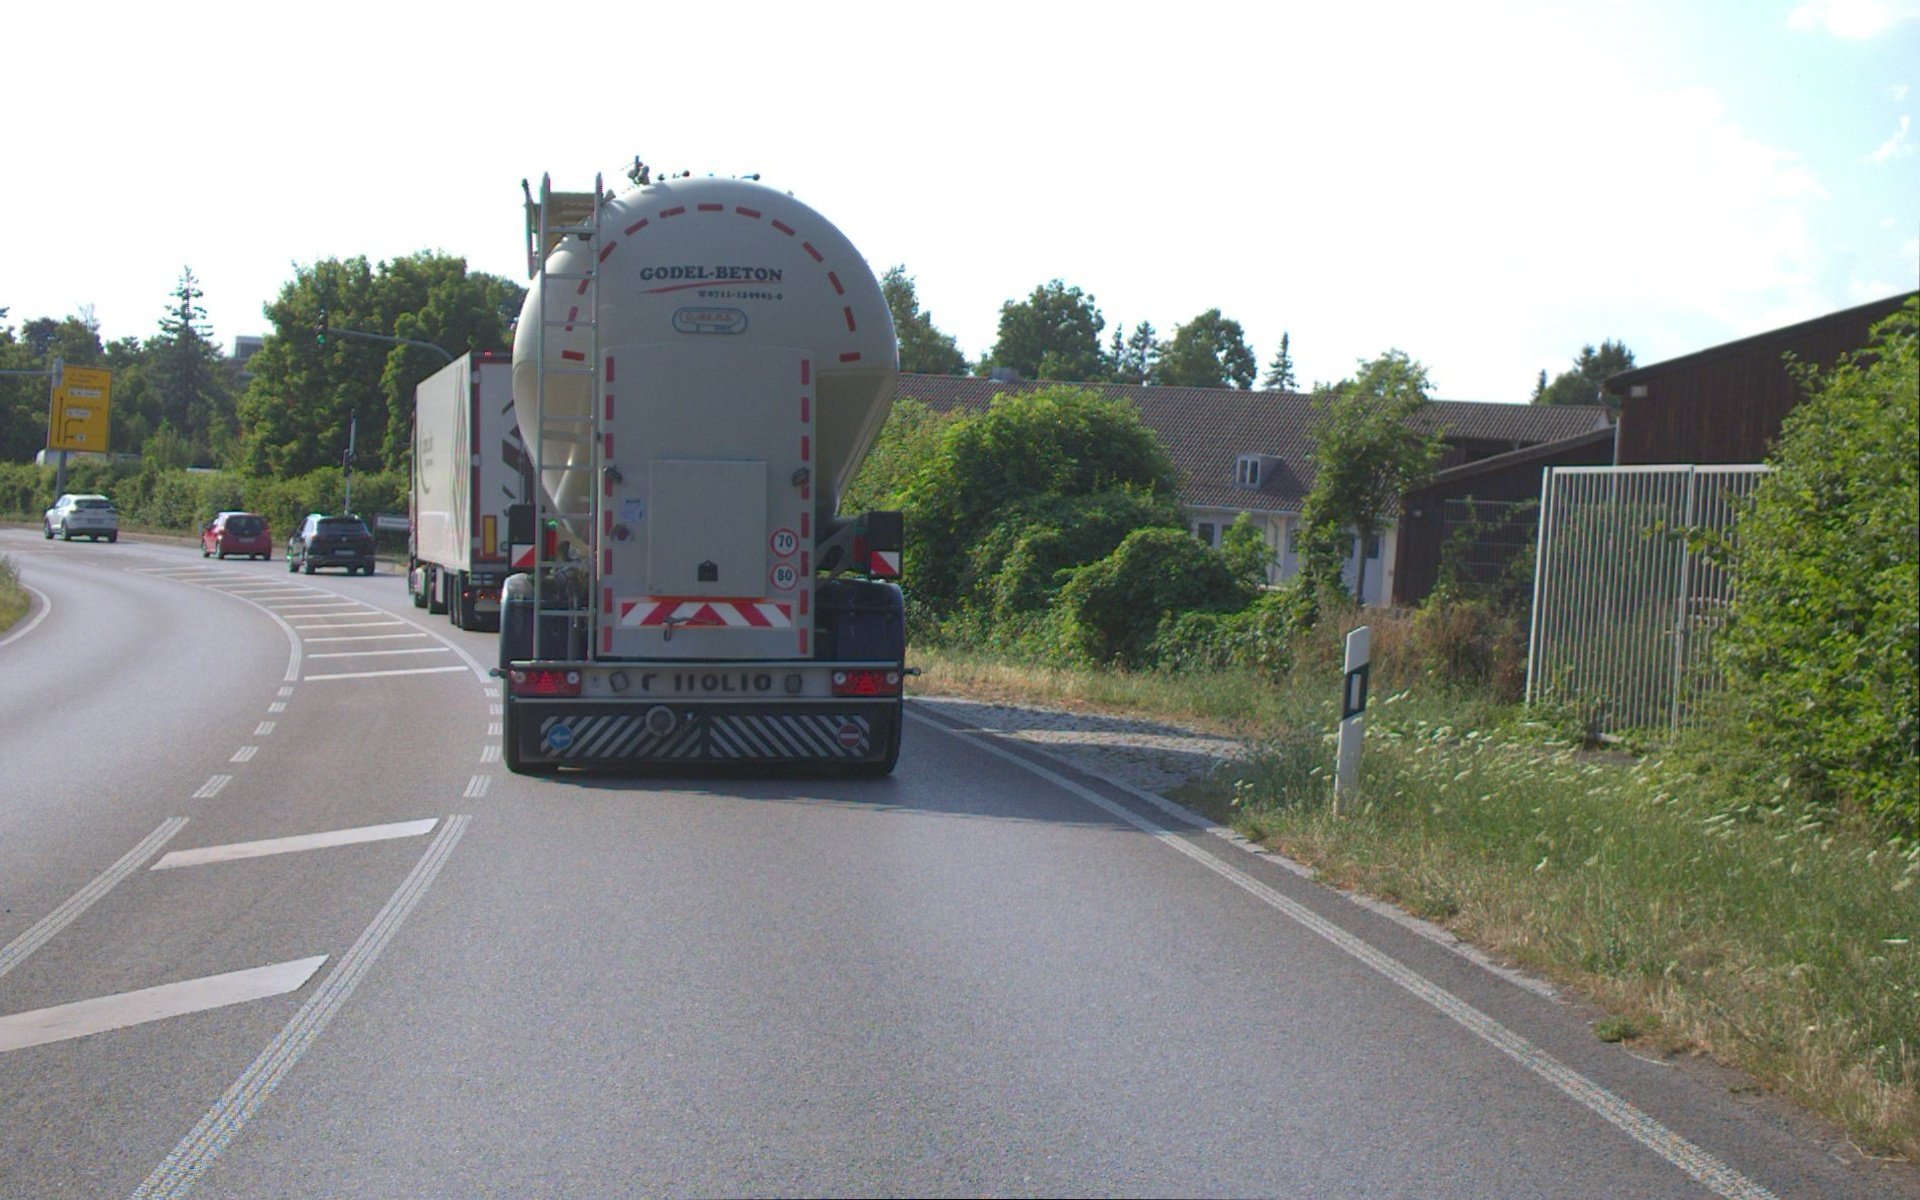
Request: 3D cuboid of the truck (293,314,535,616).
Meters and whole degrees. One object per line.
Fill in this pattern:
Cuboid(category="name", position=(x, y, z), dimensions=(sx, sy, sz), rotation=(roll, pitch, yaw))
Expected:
Cuboid(category="truck", position=(-9.568, -2.242, 59.637), dimensions=(2.962, 4.870, 6.432), rotation=(1, 0, -19))

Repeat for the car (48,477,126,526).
Cuboid(category="car", position=(-31.254, -3.518, 123.002), dimensions=(1.841, 1.650, 4.001), rotation=(1, 0, -27))

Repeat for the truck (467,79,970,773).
Cuboid(category="truck", position=(-2.100, -1.101, 26.846), dimensions=(2.975, 4.161, 11.665), rotation=(1, 0, -6))

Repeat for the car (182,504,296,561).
Cuboid(category="car", position=(-22.160, -2.060, 105.545), dimensions=(2.299, 1.650, 4.416), rotation=(1, 0, -27))

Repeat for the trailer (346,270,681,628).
Cuboid(category="trailer", position=(-7.043, -2.145, 52.569), dimensions=(2.963, 4.865, 10.291), rotation=(1, 0, -19))

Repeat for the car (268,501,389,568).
Cuboid(category="car", position=(-16.474, -1.706, 89.537), dimensions=(1.993, 1.650, 4.001), rotation=(1, 0, -27))
